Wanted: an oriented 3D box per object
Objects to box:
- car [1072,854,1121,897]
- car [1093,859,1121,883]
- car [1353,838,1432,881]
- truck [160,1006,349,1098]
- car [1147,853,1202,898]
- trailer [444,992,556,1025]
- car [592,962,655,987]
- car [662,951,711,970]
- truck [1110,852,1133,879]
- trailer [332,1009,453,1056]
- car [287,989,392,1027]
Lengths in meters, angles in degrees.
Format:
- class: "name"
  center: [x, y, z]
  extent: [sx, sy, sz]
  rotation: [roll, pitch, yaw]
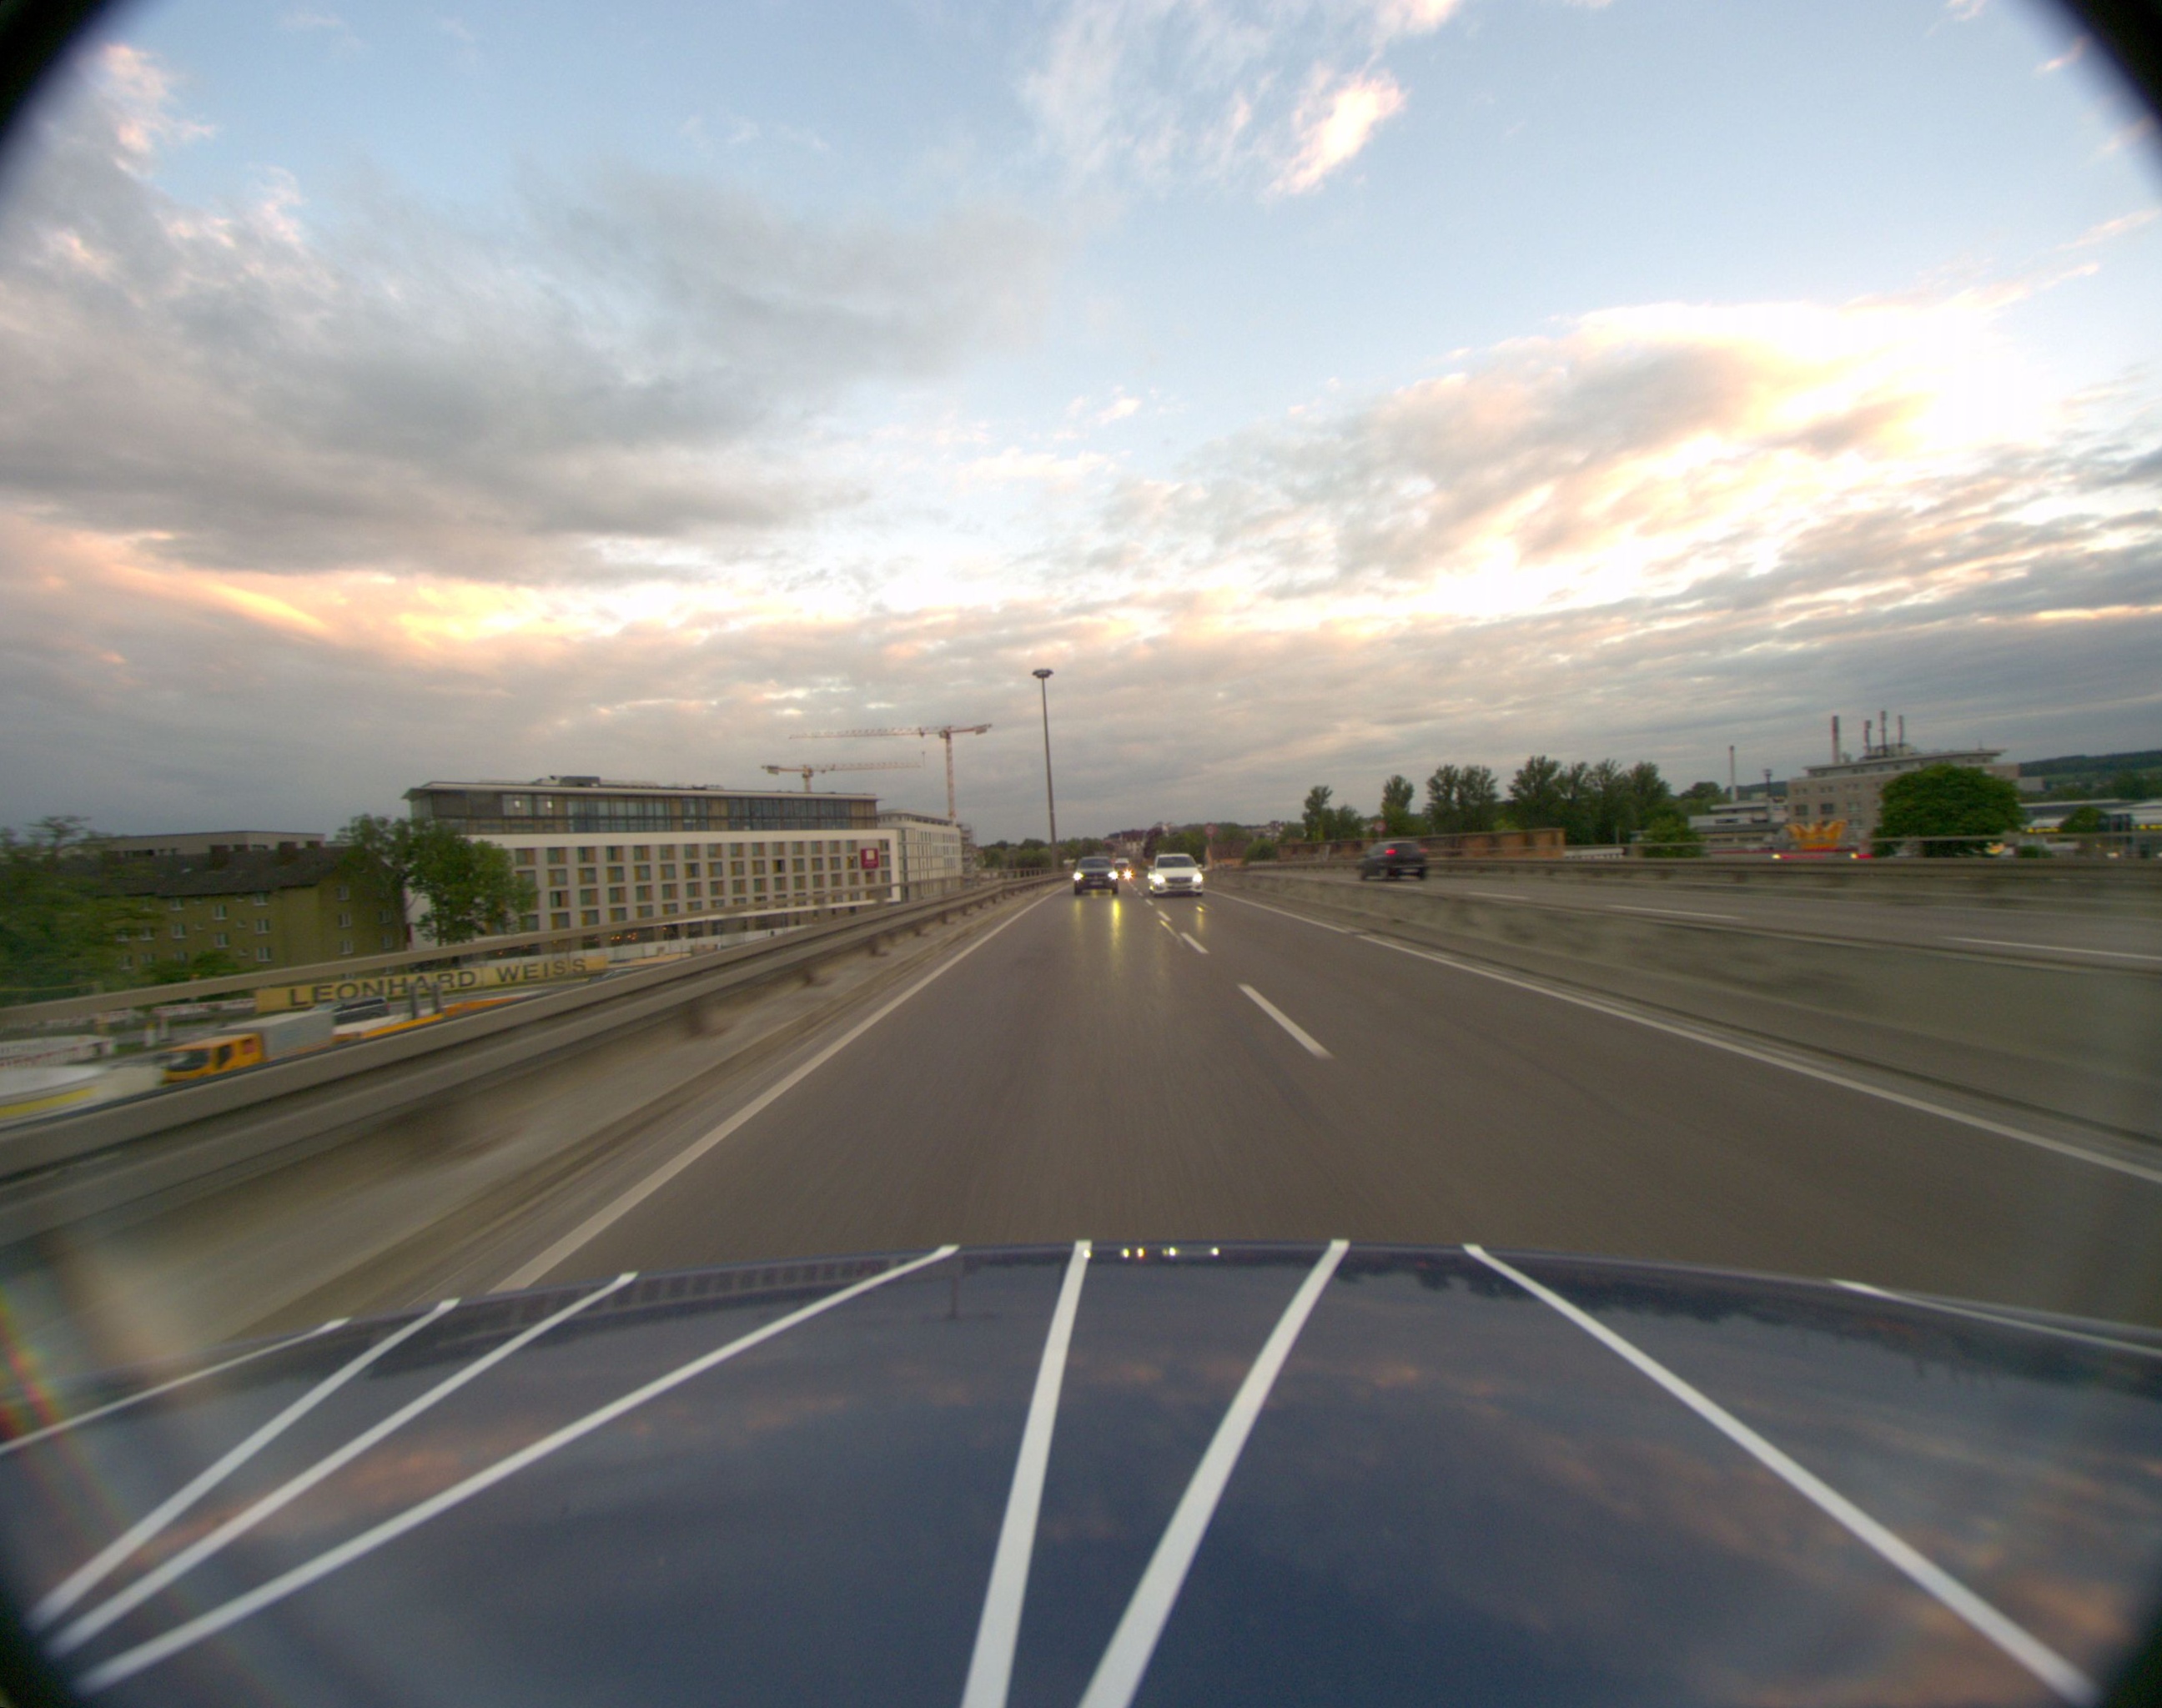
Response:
- class: "car"
  center: [0.674, 0.833, 31.432]
  extent: [1.823, 1.602, 4.213]
  rotation: [-2, 0, 2]
- class: "car"
  center: [1.989, 1.263, 56.542]
  extent: [1.891, 1.641, 4.346]
  rotation: [-3, -1, 4]
- class: "car"
  center: [12.782, 0.196, 31.418]
  extent: [1.661, 1.584, 4.042]
  rotation: [-2, 1, 1]
- class: "truck"
  center: [-43.501, 10.306, 40.422]
  extent: [2.163, 2.930, 7.335]
  rotation: [-5, 0, -4]
- class: "car"
  center: [3.487, 0.769, 29.067]
  extent: [1.695, 1.528, 4.785]
  rotation: [-2, -1, 3]
- class: "trailer"
  center: [-40.733, 10.812, 53.421]
  extent: [5.877, 1.340, 2.024]
  rotation: [-2, 1, -18]
- class: "car"
  center: [-41.189, 10.817, 68.433]
  extent: [4.602, 1.608, 1.996]
  rotation: [-2, -4, -35]
- class: "car"
  center: [-40.271, 10.867, 77.586]
  extent: [1.909, 1.432, 4.008]
  rotation: [-9, -5, 42]
- class: "truck"
  center: [7.339, 1.973, 135.998]
  extent: [3.164, 4.369, 8.797]
  rotation: [-2, 1, 8]
- class: "trailer"
  center: [-43.215, 11.161, 47.950]
  extent: [1.998, 1.339, 5.874]
  rotation: [-8, -1, 1]
- class: "car"
  center: [-52.739, 10.944, 54.153]
  extent: [1.996, 1.865, 5.103]
  rotation: [-9, -6, 37]
